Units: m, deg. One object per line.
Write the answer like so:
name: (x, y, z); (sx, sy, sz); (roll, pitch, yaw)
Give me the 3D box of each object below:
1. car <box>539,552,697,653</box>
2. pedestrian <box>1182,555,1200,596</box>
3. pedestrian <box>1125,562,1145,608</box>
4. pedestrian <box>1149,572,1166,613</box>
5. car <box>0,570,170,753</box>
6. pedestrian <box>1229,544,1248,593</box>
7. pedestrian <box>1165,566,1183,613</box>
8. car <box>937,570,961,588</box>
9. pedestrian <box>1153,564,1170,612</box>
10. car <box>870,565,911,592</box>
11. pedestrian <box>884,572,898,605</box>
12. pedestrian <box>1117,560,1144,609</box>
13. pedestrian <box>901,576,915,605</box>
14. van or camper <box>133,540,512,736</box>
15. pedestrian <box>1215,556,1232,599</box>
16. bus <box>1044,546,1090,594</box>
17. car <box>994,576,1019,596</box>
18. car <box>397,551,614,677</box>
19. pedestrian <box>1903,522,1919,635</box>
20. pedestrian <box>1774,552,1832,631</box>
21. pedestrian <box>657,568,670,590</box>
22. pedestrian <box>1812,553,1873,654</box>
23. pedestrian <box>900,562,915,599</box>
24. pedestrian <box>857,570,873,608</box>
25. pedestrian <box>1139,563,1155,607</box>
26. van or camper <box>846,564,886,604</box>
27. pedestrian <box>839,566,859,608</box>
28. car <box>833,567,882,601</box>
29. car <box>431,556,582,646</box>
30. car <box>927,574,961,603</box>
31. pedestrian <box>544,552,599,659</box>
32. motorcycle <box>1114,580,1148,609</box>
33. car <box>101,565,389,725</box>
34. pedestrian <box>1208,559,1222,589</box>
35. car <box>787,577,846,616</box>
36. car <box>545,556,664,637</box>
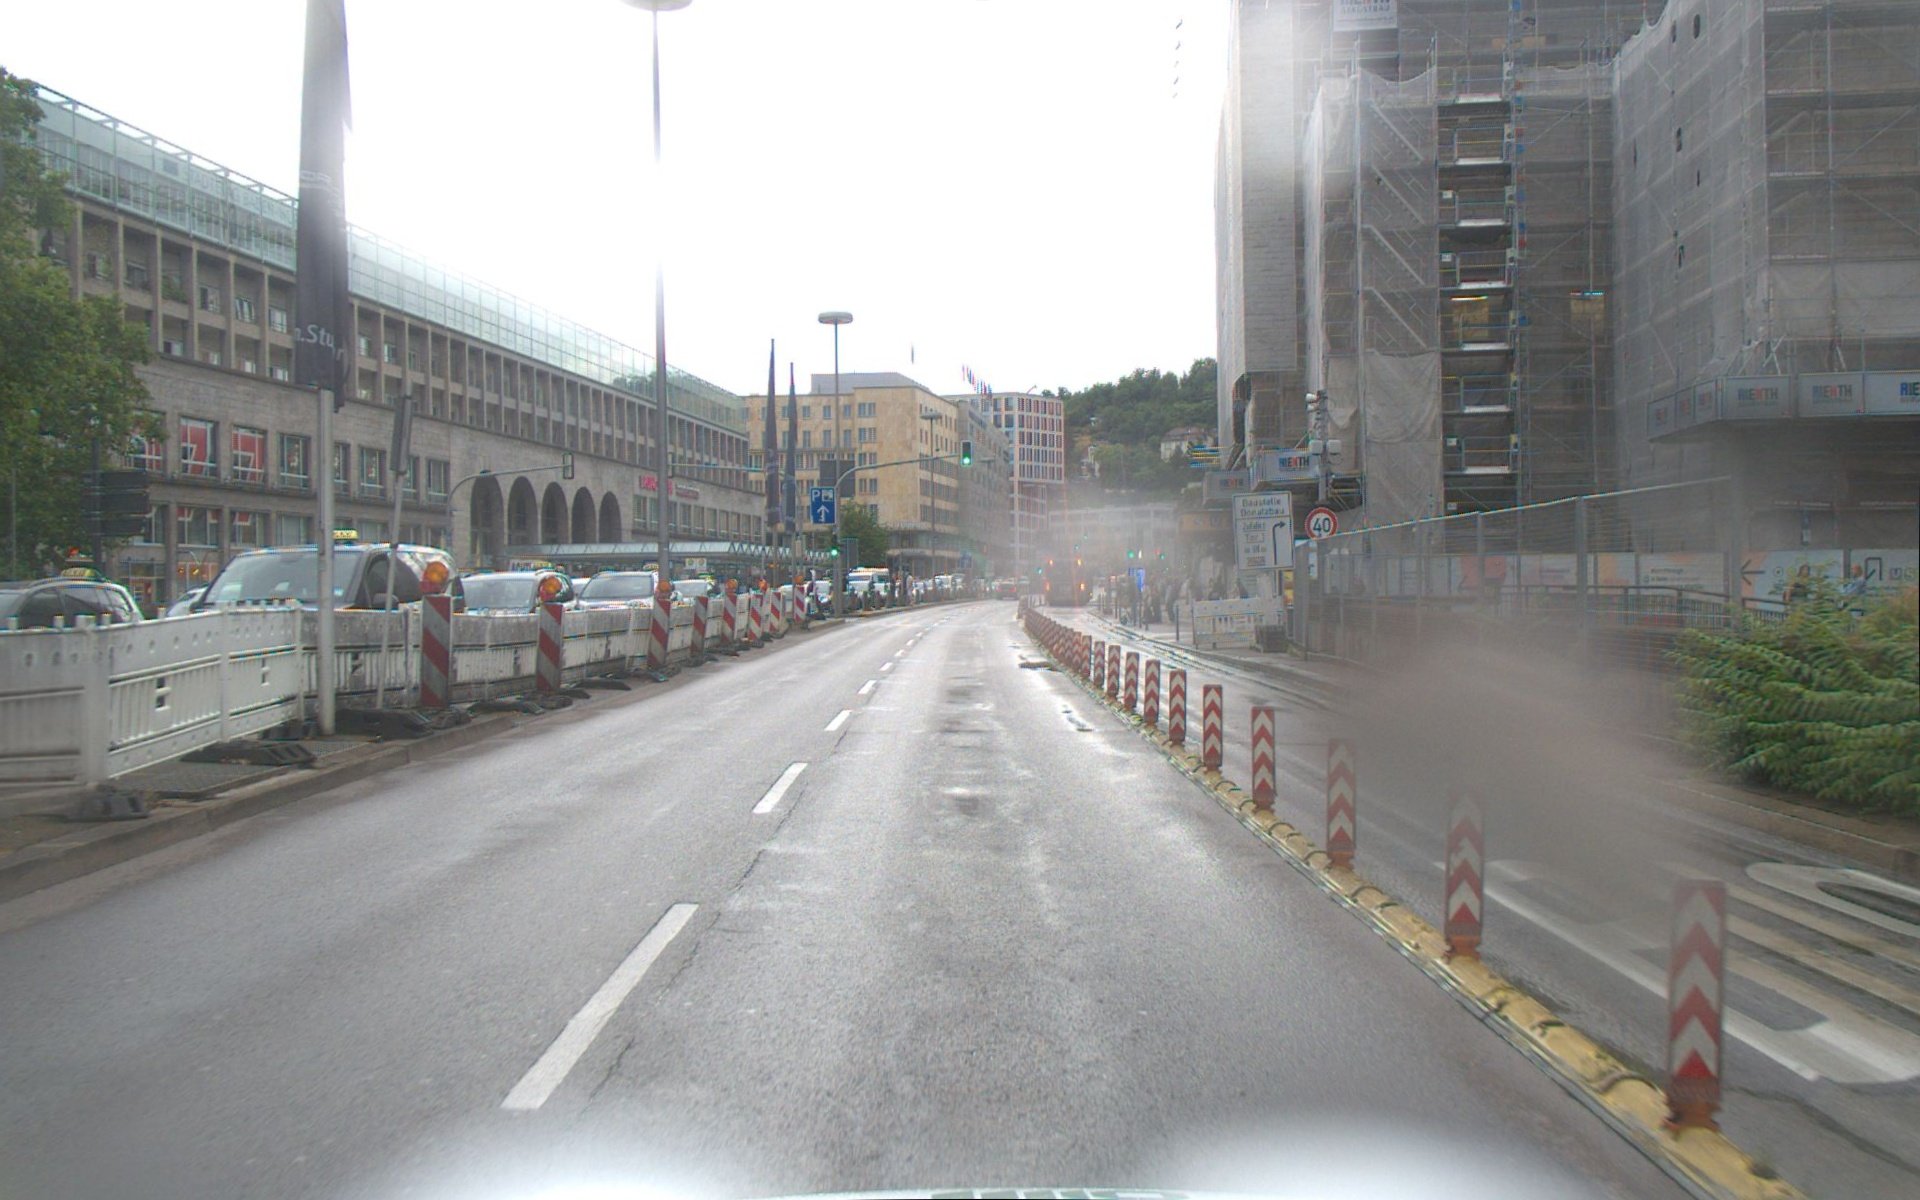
car: (-6.903, -0.020, 33.925); (1.952, 1.849, 4.814); (-1, 2, 3)
pedestrian: (10.841, -1.158, 77.596); (0.707, 1.879, 0.811); (-3, 1, 6)
pedestrian: (6.979, -0.602, 66.074); (0.547, 1.789, 0.751); (-3, 1, -8)
pedestrian: (7.402, -0.282, 61.922); (0.546, 1.474, 0.712); (-3, 1, 7)
car: (-10.285, 0.590, 17.254); (1.851, 1.731, 4.304); (1, 2, 3)
pedestrian: (9.738, -1.111, 57.752); (0.552, 1.679, 0.615); (-3, 1, 10)
pedestrian: (7.783, -0.376, 60.031); (0.546, 1.679, 0.615); (-3, 1, 7)
car: (-0.984, -1.958, 150.354); (1.952, 1.579, 4.002); (-1, 1, 4)
pedestrian: (7.686, -0.477, 63.004); (0.546, 1.782, 0.712); (-3, 1, 7)
car: (-4.293, -1.355, 103.279); (1.889, 1.604, 5.016); (-2, 1, 5)
pedestrian: (-3.852, -0.635, 92.086); (0.684, 1.785, 0.712); (-1, 1, 5)
pedestrian: (6.292, -0.575, 60.927); (0.575, 1.771, 0.811); (-1, 1, -37)
pedestrian: (-3.018, -0.565, 95.807); (0.707, 1.634, 0.997); (1, 2, 5)
van or camper: (-6.831, 0.303, 18.510); (1.904, 1.851, 5.395); (1, 1, 3)
pedestrian: (10.525, -0.896, 66.081); (0.537, 1.660, 0.996); (-3, 1, 6)
bus: (7.385, -2.071, 113.238); (2.697, 3.122, 9.087); (1, 1, 6)
car: (3.858, -1.195, 137.111); (1.952, 1.579, 4.001); (-1, 1, 1)
car: (-7.310, 0.141, 27.154); (1.952, 1.801, 4.814); (-1, 2, 3)
pedestrian: (17.797, -0.385, 30.103); (0.762, 2.049, 0.765); (1, 0, -2)
pedestrian: (17.784, -0.179, 34.903); (0.837, 1.621, 0.709); (1, 0, -2)
pedestrian: (-19.007, -1.357, 105.984); (0.695, 1.417, 0.699); (0, 2, -24)
pedestrian: (18.129, 0.064, 33.999); (0.788, 2.049, 0.765); (1, 0, -2)
pedestrian: (-2.917, -1.109, 92.067); (0.707, 2.042, 0.773); (0, 1, 5)
pedestrian: (-4.391, -0.504, 76.495); (0.637, 1.741, 0.593); (1, 1, 4)
pedestrian: (7.320, -0.586, 64.741); (0.546, 1.669, 0.752); (-3, 1, 7)
van or camper: (-6.570, -1.164, 116.312); (1.952, 2.557, 5.374); (-3, 1, 4)
pedestrian: (-4.917, -0.572, 73.469); (0.767, 1.806, 0.606); (-4, 1, -6)
car: (-5.556, -0.897, 90.205); (1.889, 1.720, 4.685); (-2, 1, 5)
car: (-9.679, -0.036, 35.662); (1.746, 1.752, 4.486); (-1, 2, 3)
car: (-1.259, -0.923, 132.082); (1.951, 2.216, 5.549); (-1, 1, 7)
pedestrian: (-7.546, 0.093, 32.148); (0.857, 2.048, 0.821); (0, 1, -1)
motorcycle: (6.305, -0.212, 60.922); (0.580, 1.039, 1.223); (-1, 1, -37)
car: (-10.047, 0.533, 23.684); (1.875, 1.883, 4.568); (5, 2, 2)
pedestrian: (13.814, -1.408, 89.635); (0.637, 1.566, 0.666); (-3, 1, 7)
car: (-6.569, -0.177, 76.102); (1.972, 1.649, 4.845); (-1, 2, 3)
car: (-9.046, -0.141, 42.497); (1.863, 1.931, 4.526); (1, 2, 3)
